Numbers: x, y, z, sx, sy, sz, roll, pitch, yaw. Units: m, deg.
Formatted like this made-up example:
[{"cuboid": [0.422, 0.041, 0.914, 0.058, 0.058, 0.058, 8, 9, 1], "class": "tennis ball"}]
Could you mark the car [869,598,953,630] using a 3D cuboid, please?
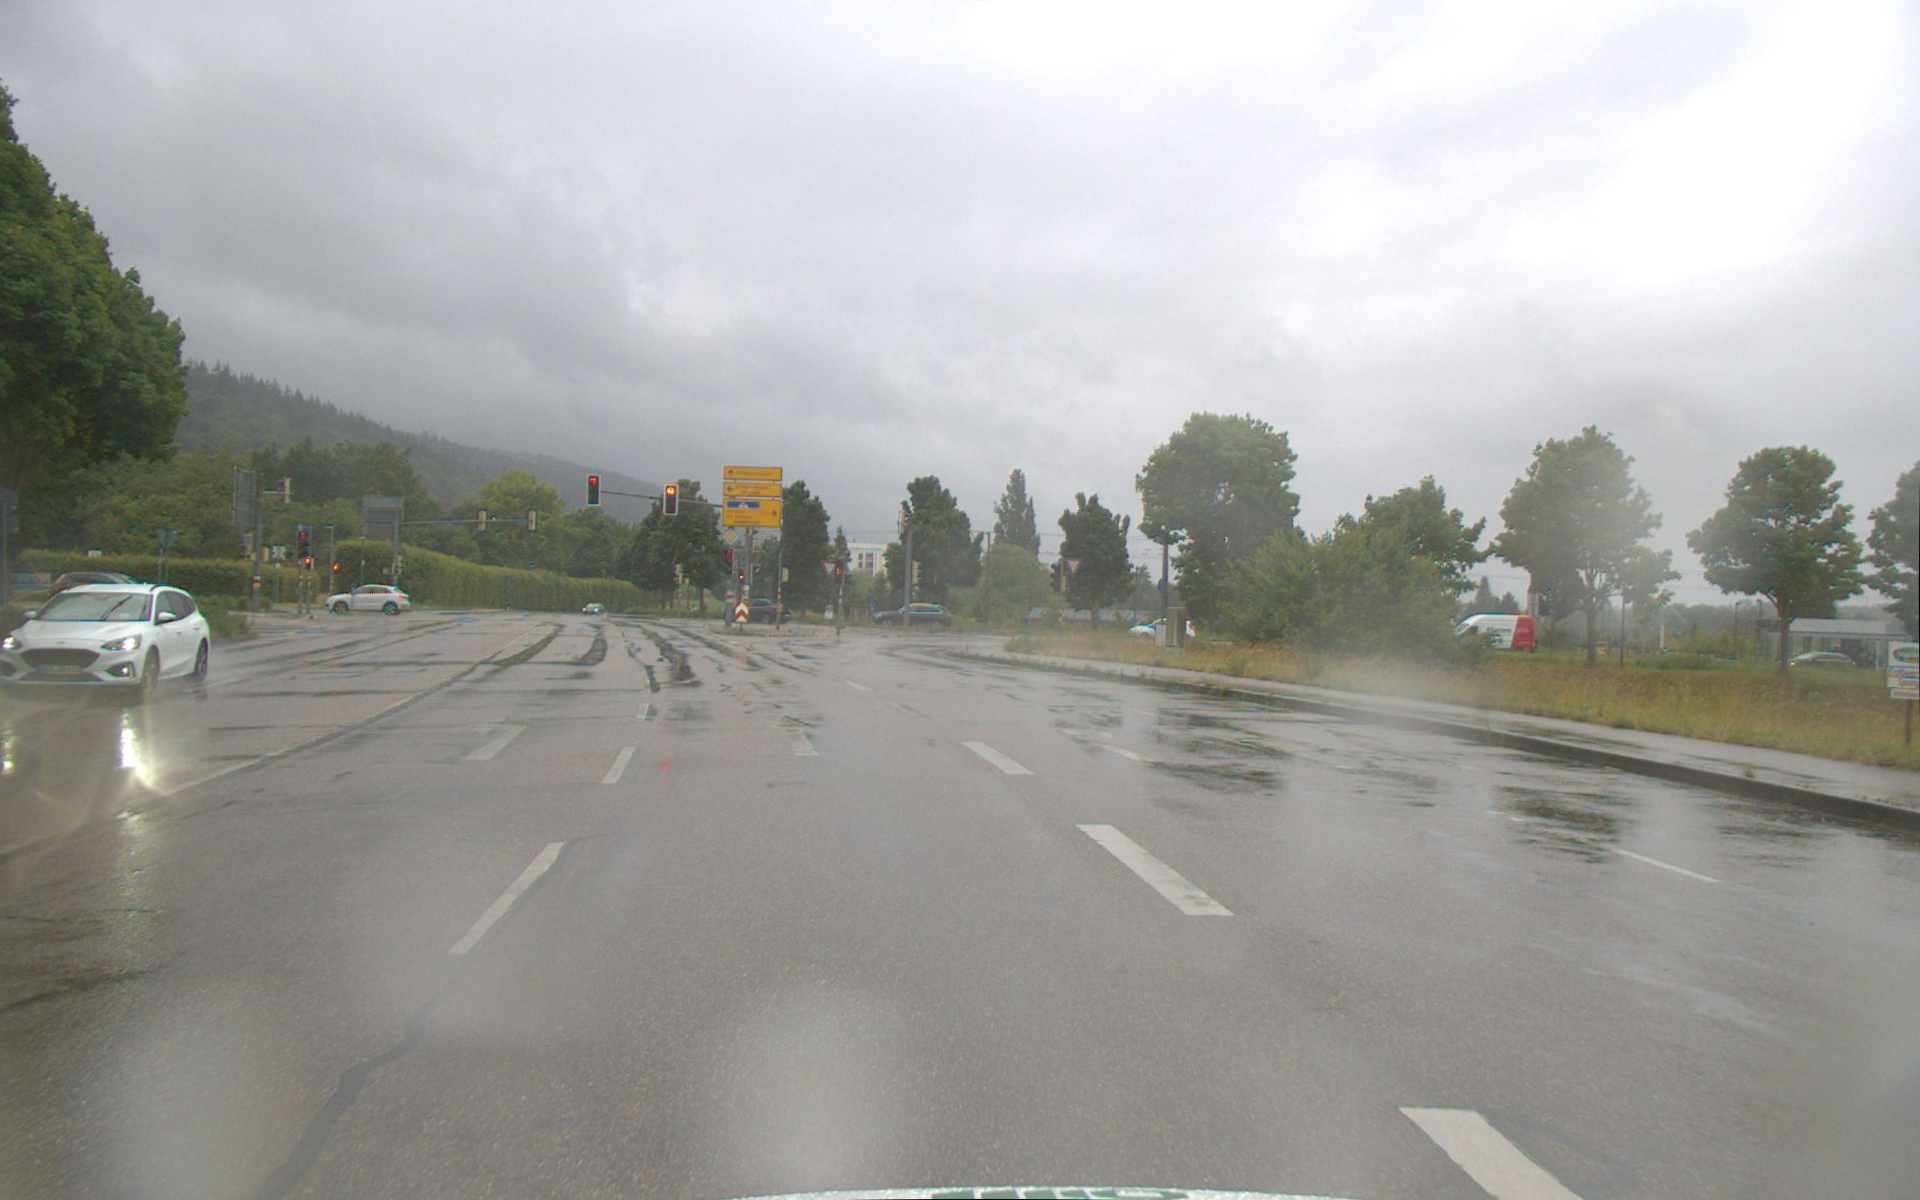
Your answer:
[{"cuboid": [-2.792, 0.776, 93.681, 4.584, 1.667, 1.819, 1, 0, -10], "class": "car"}]

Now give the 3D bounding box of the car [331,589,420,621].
[{"cuboid": [-31.797, 0.267, 90.134, 4.298, 1.607, 1.728, 2, 0, -12], "class": "car"}]

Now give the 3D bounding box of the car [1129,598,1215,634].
[{"cuboid": [12.229, 0.915, 95.632, 4.580, 1.949, 1.912, 1, 0, -7], "class": "car"}]

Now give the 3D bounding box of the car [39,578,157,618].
[{"cuboid": [-38.552, -0.101, 74.022, 4.290, 1.607, 1.730, 2, 0, -6], "class": "car"}]
